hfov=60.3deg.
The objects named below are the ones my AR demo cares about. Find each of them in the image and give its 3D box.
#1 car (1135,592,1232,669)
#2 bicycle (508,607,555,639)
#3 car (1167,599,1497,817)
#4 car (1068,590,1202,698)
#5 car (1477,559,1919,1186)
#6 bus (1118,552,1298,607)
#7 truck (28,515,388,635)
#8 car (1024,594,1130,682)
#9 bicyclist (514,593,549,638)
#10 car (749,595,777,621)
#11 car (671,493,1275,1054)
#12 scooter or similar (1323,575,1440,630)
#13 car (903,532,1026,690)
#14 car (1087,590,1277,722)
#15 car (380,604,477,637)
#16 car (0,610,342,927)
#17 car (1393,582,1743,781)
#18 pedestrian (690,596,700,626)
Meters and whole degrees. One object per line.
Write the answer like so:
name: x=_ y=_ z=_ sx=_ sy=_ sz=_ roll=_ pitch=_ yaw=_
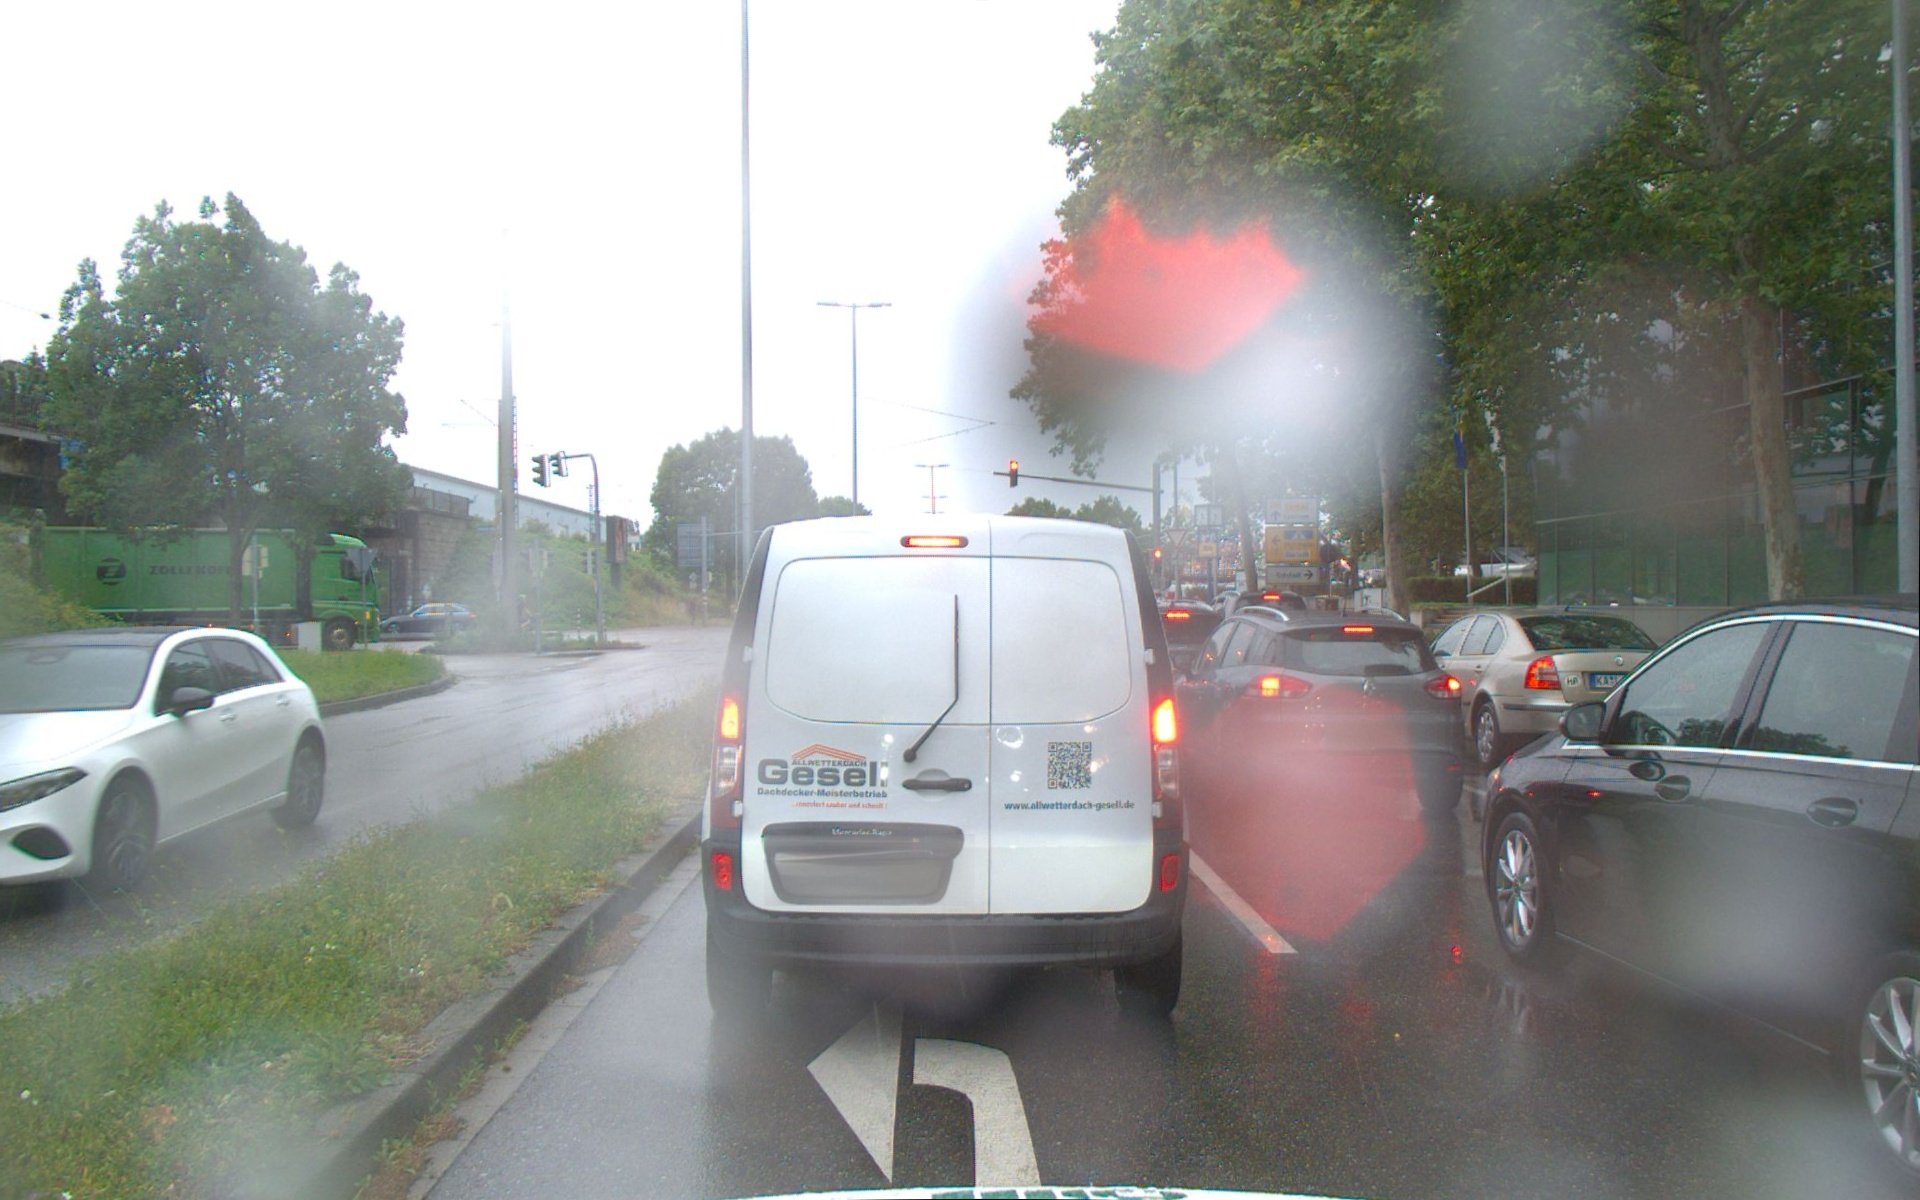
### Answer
car: x=5.172 y=0.683 z=38.699 sx=1.674 sy=1.678 sz=3.842 roll=1 pitch=0 yaw=-1
bicycle: x=-14.349 y=0.760 z=55.341 sx=1.027 sy=0.968 sz=2.866 roll=-1 pitch=1 yaw=-25
car: x=2.769 y=0.735 z=13.140 sx=1.649 sy=1.433 sz=3.842 roll=1 pitch=0 yaw=-2
car: x=2.874 y=0.681 z=27.890 sx=1.816 sy=1.678 sz=3.842 roll=0 pitch=0 yaw=-1
car: x=3.246 y=0.689 z=5.444 sx=1.712 sy=1.582 sz=4.089 roll=0 pitch=0 yaw=-2
bus: x=16.599 y=-1.385 z=111.149 sx=11.727 sy=3.483 sz=2.315 roll=-1 pitch=1 yaw=-1
truck: x=-23.121 y=-0.745 z=51.344 sx=9.956 sy=3.430 sz=2.316 roll=0 pitch=0 yaw=-37
car: x=2.309 y=0.734 z=33.544 sx=1.816 sy=1.678 sz=3.842 roll=0 pitch=0 yaw=-1
bicyclist: x=-14.324 y=0.509 z=55.277 sx=1.028 sy=1.475 sz=0.723 roll=-1 pitch=1 yaw=-26
car: x=-12.609 y=0.473 z=106.174 sx=1.439 sy=1.586 sz=3.507 roll=-1 pitch=1 yaw=-1
car: x=0.014 y=0.540 z=7.640 sx=1.953 sy=1.807 sz=4.584 roll=0 pitch=0 yaw=-1
scooter or similar: x=19.672 y=0.109 z=77.357 sx=1.878 sy=2.489 sz=5.239 roll=0 pitch=0 yaw=-41
car: x=0.040 y=0.143 z=26.417 sx=1.816 sy=2.336 sz=3.842 roll=0 pitch=0 yaw=-1
car: x=2.662 y=0.628 z=20.660 sx=1.816 sy=1.486 sz=3.842 roll=0 pitch=0 yaw=-1
car: x=-23.744 y=0.905 z=73.988 sx=3.829 sy=1.409 sz=1.659 roll=0 pitch=0 yaw=-38
car: x=-5.394 y=0.884 z=10.132 sx=1.699 sy=1.546 sz=4.046 roll=-3 pitch=-1 yaw=-1
car: x=5.684 y=0.671 z=16.043 sx=1.838 sy=1.641 sz=3.999 roll=2 pitch=1 yaw=-1
pedestrian: x=-15.359 y=0.625 z=95.919 sx=0.532 sy=1.746 sz=0.563 roll=1 pitch=-1 yaw=-5
